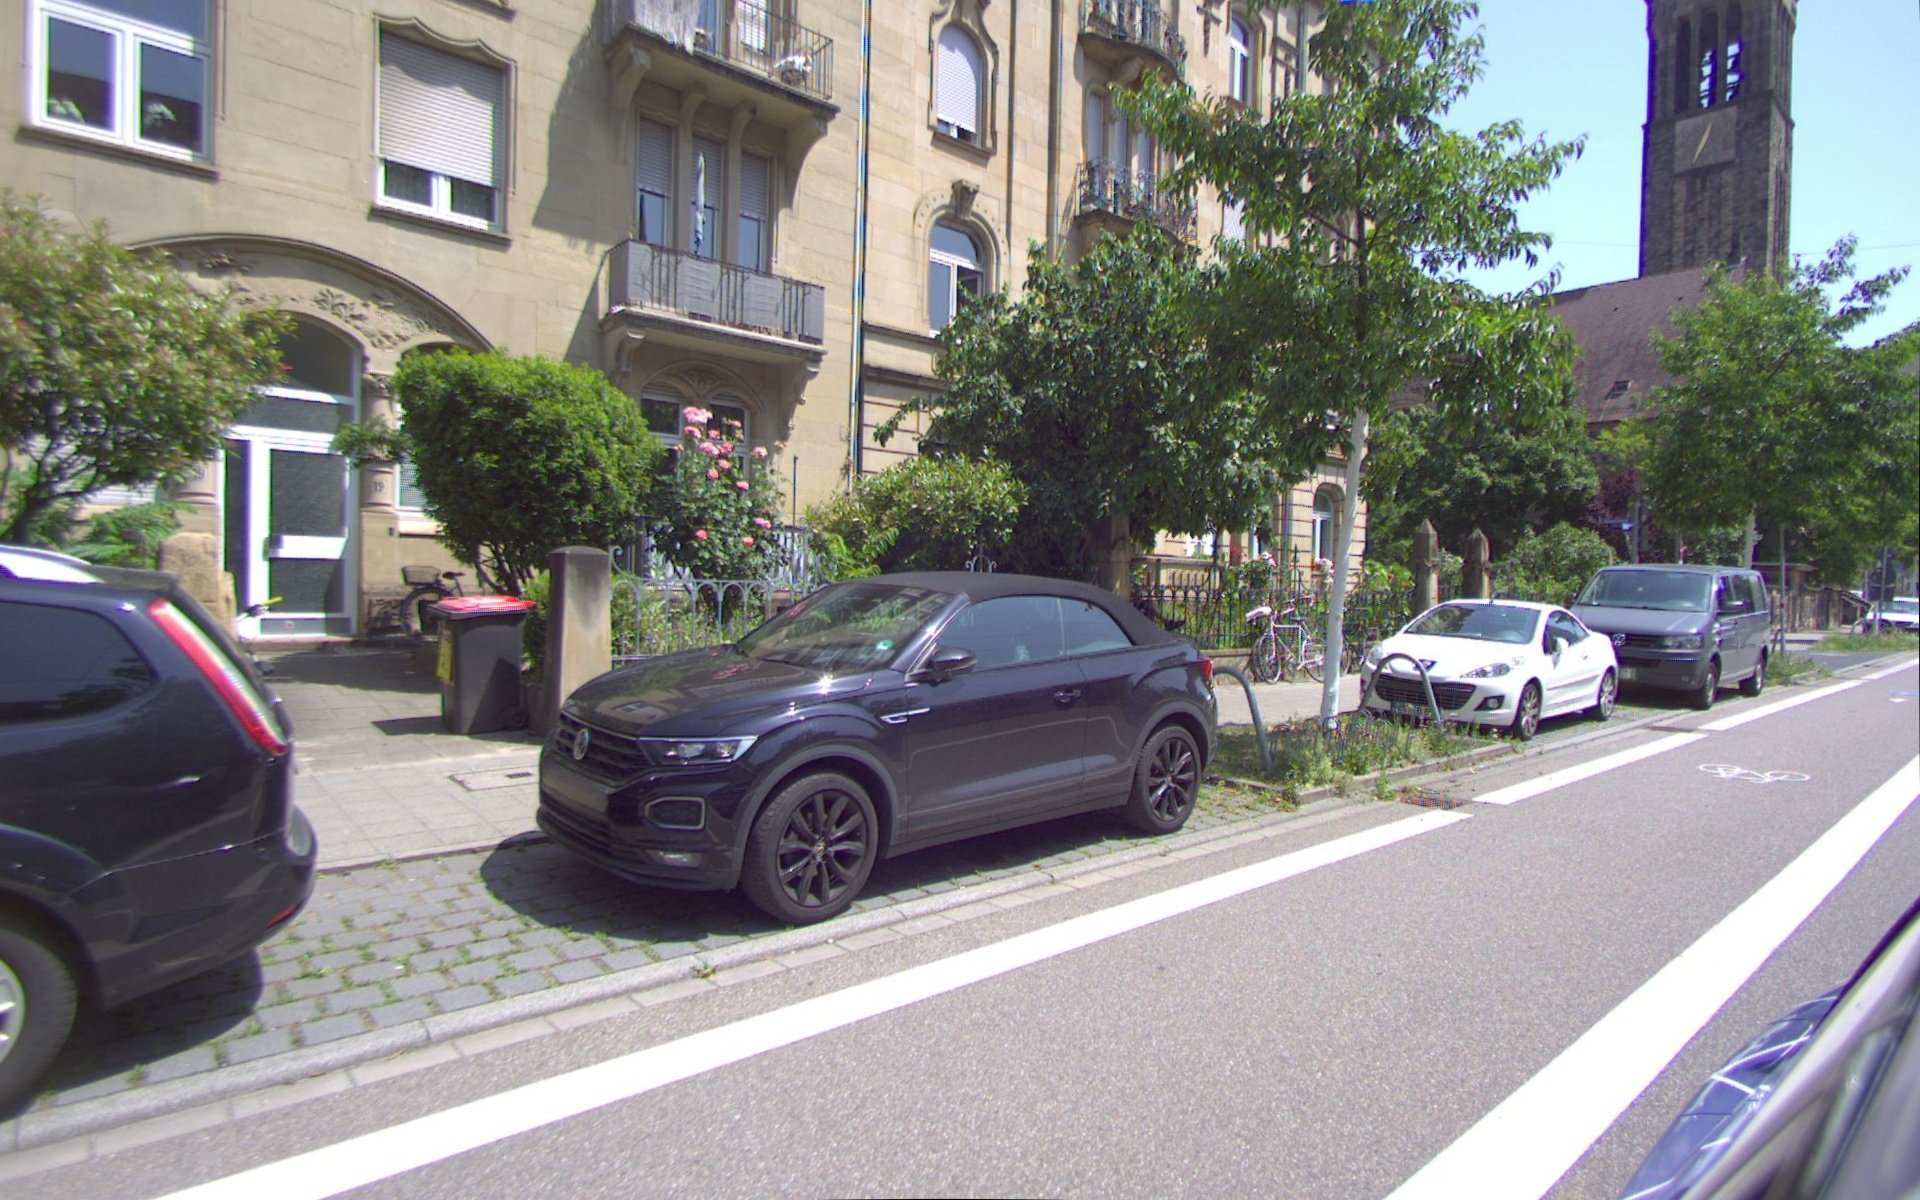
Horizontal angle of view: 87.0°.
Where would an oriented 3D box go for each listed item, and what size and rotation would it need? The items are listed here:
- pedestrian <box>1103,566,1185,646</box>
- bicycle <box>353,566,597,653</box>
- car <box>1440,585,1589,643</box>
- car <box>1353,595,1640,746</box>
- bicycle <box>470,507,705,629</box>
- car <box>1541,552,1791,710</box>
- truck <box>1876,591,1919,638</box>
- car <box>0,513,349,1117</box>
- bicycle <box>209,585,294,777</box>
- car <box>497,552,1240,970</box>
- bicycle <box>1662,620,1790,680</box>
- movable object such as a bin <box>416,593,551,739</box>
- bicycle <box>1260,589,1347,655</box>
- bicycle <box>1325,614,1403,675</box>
[{"bbox_3d":[2.611,0.072,14.375,0.747,1.083,0.868,0,1,-37],"label":"pedestrian"},{"bbox_3d":[-6.033,0.100,12.759,2.712,0.998,0.584,0,1,-42],"label":"bicycle"},{"bbox_3d":[15.995,0.351,29.295,1.526,1.510,3.460,0,1,-38],"label":"car"},{"bbox_3d":[6.303,0.686,11.701,3.930,1.423,1.614,0,1,-41],"label":"car"},{"bbox_3d":[-4.444,-0.358,12.280,2.644,1.349,0.565,0,1,-43],"label":"bicycle"},{"bbox_3d":[10.581,0.368,15.023,4.751,1.971,1.883,0,2,-41],"label":"car"},{"bbox_3d":[33.602,0.481,35.565,4.391,1.545,1.791,0,1,-44],"label":"truck"},{"bbox_3d":[-4.069,0.536,2.330,4.328,1.555,1.732,0,1,-42],"label":"car"},{"bbox_3d":[-5.106,0.515,7.263,0.337,1.089,1.694,1,5,-40],"label":"bicycle"},{"bbox_3d":[-0.264,0.580,5.697,3.944,1.550,1.670,0,1,-42],"label":"car"},{"bbox_3d":[14.185,0.897,18.778,1.879,1.004,0.463,1,1,40],"label":"bicycle"},{"bbox_3d":[-3.969,0.511,8.417,0.815,1.082,0.804,0,4,-41],"label":"movable object such as a bin"},{"bbox_3d":[4.966,0.300,14.601,1.607,0.891,0.441,0,1,-41],"label":"bicycle"},{"bbox_3d":[6.359,0.673,15.897,1.607,0.891,0.441,0,1,-41],"label":"bicycle"}]
